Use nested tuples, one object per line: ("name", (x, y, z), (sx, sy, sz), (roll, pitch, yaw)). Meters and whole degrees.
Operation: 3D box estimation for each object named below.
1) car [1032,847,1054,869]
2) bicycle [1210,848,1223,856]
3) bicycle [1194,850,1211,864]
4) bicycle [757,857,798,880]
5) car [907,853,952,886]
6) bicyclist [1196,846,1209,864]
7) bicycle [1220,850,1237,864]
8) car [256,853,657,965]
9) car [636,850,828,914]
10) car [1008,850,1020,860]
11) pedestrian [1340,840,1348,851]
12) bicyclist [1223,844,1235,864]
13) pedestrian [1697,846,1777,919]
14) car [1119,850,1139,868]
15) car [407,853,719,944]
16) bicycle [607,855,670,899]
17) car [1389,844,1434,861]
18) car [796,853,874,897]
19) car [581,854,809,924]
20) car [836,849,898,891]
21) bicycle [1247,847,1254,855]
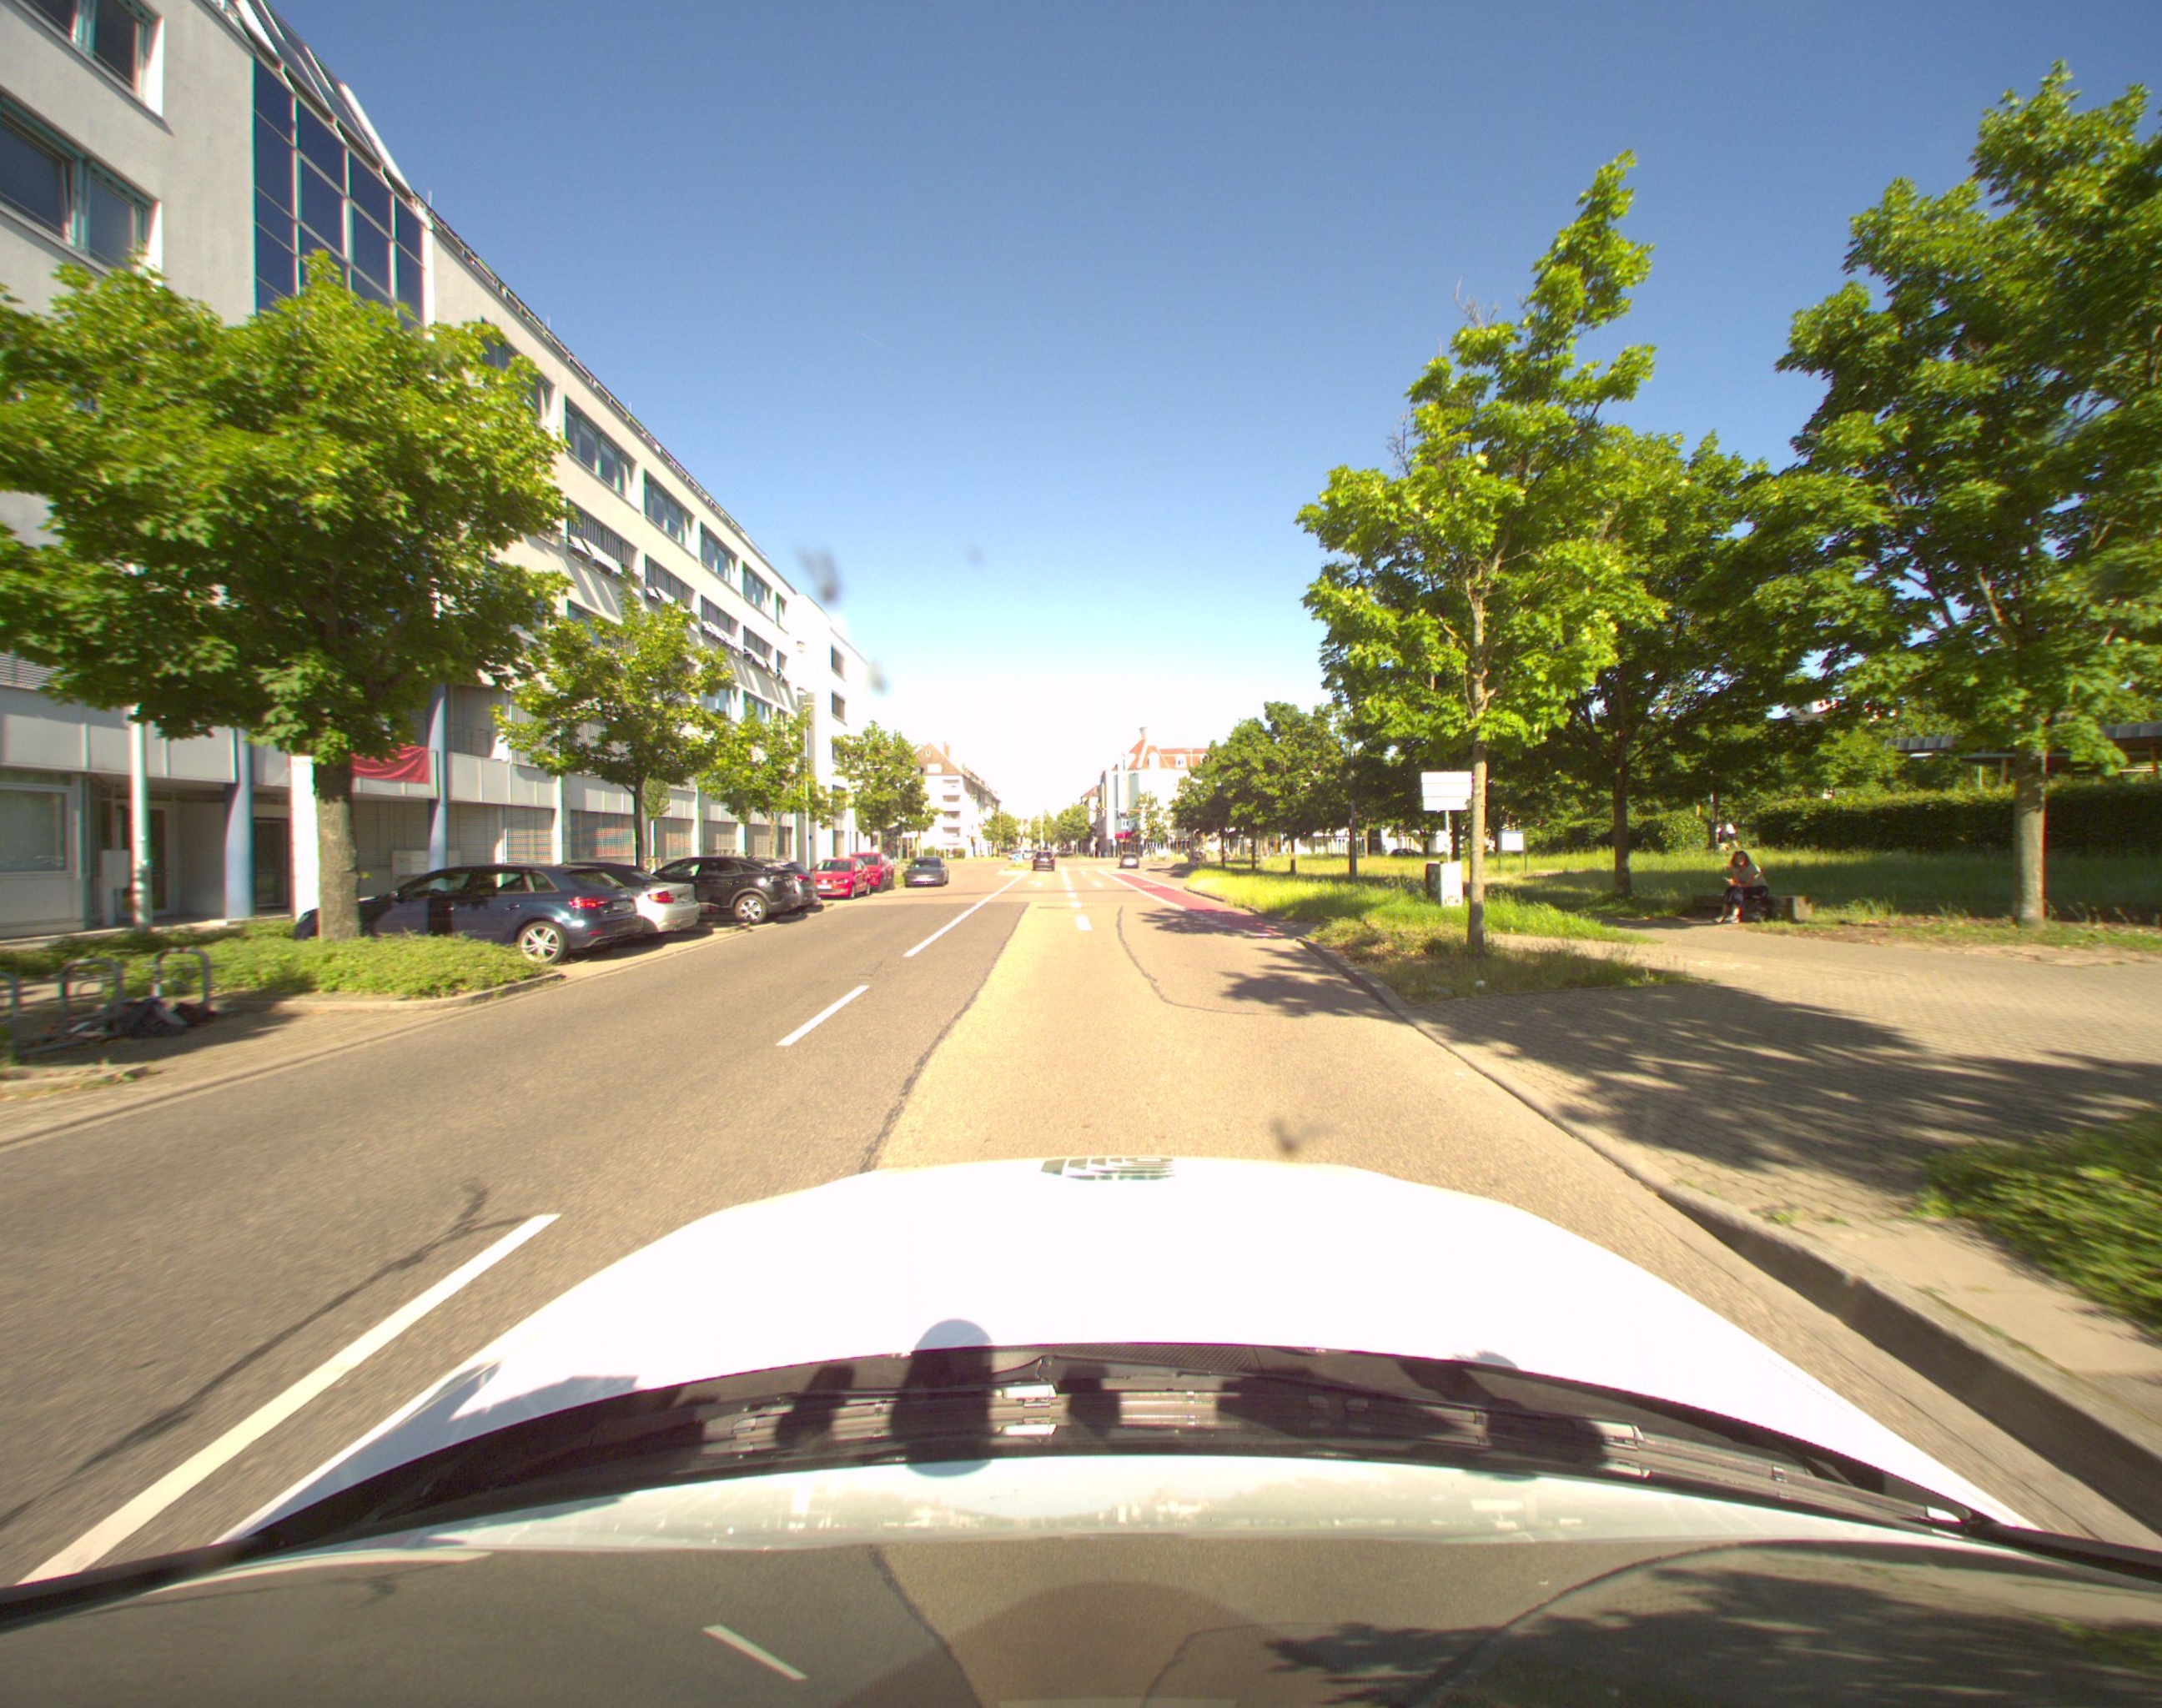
("car", (-3.090, 0.319, 66.552), (1.749, 1.628, 4.474), (2, 0, -2))
("bicycle", (20.845, -0.368, 125.649), (1.862, 1.182, 0.561), (-1, 0, -7))
("bicycle", (12.226, 0.334, 81.896), (0.782, 1.348, 2.092), (-1, 0, 35))
("bicycle", (-14.831, 0.724, 39.774), (1.758, 1.069, 0.556), (-2, 0, 5))
("car", (-7.440, 0.736, 40.317), (1.685, 1.468, 4.539), (-1, 0, -5))
("bicyclist", (12.233, 0.085, 81.910), (0.782, 1.824, 1.143), (-1, 0, 35))
("bicycle", (14.951, 0.293, 82.267), (0.782, 1.348, 2.277), (-1, 0, 35))
("car", (-8.904, 0.763, 11.959), (4.378, 1.432, 1.690), (2, 0, -6))
("car", (-9.252, 0.728, 21.891), (4.381, 1.538, 1.689), (2, 0, -7))
("car", (-11.141, 0.116, 135.147), (1.748, 1.556, 3.729), (2, 0, -1))
("pedestrian", (39.986, -1.284, 123.957), (0.987, 1.723, 0.653), (-1, 0, -4))
("bicyclist", (14.965, -0.015, 82.301), (0.782, 1.959, 1.017), (-1, 0, 35))
("pedestrian", (11.661, 0.489, 14.485), (0.846, 1.217, 0.725), (-2, 0, -15))
("car", (4.481, 0.485, 76.334), (1.682, 1.577, 3.872), (2, 0, 1))
("car", (-9.101, 0.754, 14.611), (4.376, 1.432, 1.691), (2, 0, -4))
("bicycle", (-14.484, 0.737, 26.744), (0.706, 1.347, 2.234), (-2, 0, 3))
("car", (34.144, -0.157, 84.093), (3.944, 1.600, 1.673), (-2, 0, -5))
("car", (-8.702, 0.710, 29.172), (1.684, 1.432, 3.868), (2, 0, -2))
("car", (-8.794, 0.787, 18.862), (4.378, 1.432, 1.690), (2, 0, -5))
("car", (-8.962, 0.627, 34.409), (1.685, 1.607, 4.304), (2, 0, -4))
("bicycle", (26.498, -0.471, 127.253), (0.559, 1.182, 1.867), (-1, 0, -4))
